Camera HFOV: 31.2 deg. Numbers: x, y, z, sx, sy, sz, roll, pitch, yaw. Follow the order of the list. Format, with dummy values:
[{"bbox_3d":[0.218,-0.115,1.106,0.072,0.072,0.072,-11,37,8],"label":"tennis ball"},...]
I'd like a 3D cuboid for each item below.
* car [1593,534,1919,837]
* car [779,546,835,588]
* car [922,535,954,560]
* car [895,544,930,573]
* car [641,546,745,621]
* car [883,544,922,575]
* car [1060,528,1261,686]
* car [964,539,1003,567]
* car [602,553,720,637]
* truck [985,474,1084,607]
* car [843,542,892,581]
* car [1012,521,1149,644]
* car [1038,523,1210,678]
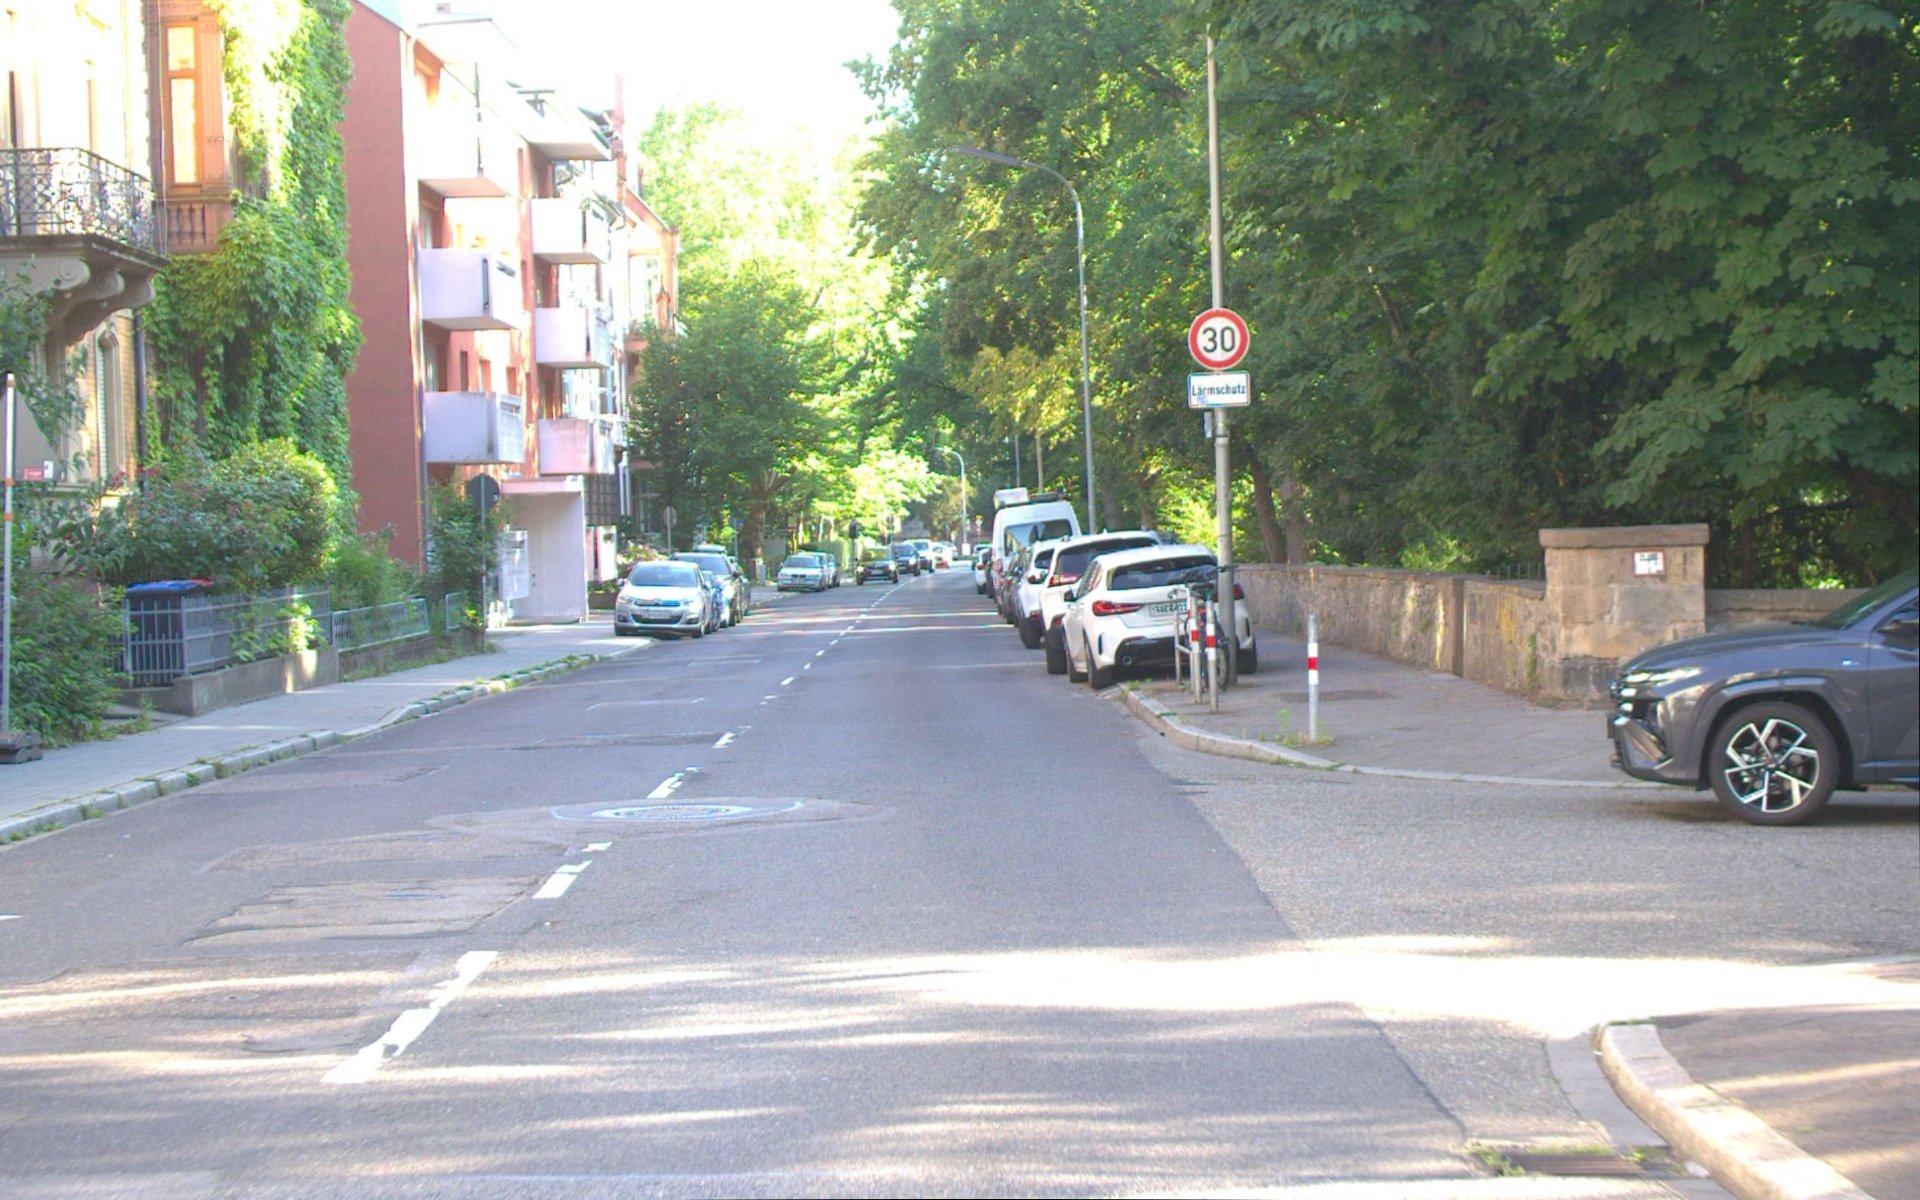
[{"bbox_3d":[5.963,0.454,19.929,4.438,1.647,2.000,0,2,8],"label":"car"},{"bbox_3d":[-6.058,-1.317,136.752,1.993,1.486,4.471,-2,2,0],"label":"car"},{"bbox_3d":[-1.441,-3.423,223.648,1.993,1.486,4.471,-2,2,0],"label":"car"},{"bbox_3d":[-2.759,-2.435,200.533,1.993,1.486,4.471,-2,2,0],"label":"car"},{"bbox_3d":[-6.014,-0.405,77.848,1.993,1.486,4.471,-2,2,0],"label":"car"},{"bbox_3d":[-3.039,-2.156,182.396,1.993,1.486,4.471,-2,2,0],"label":"car"},{"bbox_3d":[2.144,0.028,37.765,1.993,1.512,4.000,-2,2,1],"label":"car"},{"bbox_3d":[1.372,-2.828,206.461,1.993,1.486,4.471,-2,2,-3],"label":"car"},{"bbox_3d":[-6.045,-0.132,69.924,1.993,1.486,4.471,-2,2,0],"label":"car"},{"bbox_3d":[1.684,-1.392,78.901,1.993,2.887,4.471,-2,2,-1],"label":"truck"},{"bbox_3d":[-4.012,-1.684,149.863,1.993,1.486,4.471,-2,2,0],"label":"car"},{"bbox_3d":[1.859,-0.305,53.904,1.993,1.731,4.000,-2,2,1],"label":"car"},{"bbox_3d":[2.014,-0.041,43.248,1.993,1.731,4.000,-2,2,1],"label":"car"}]
